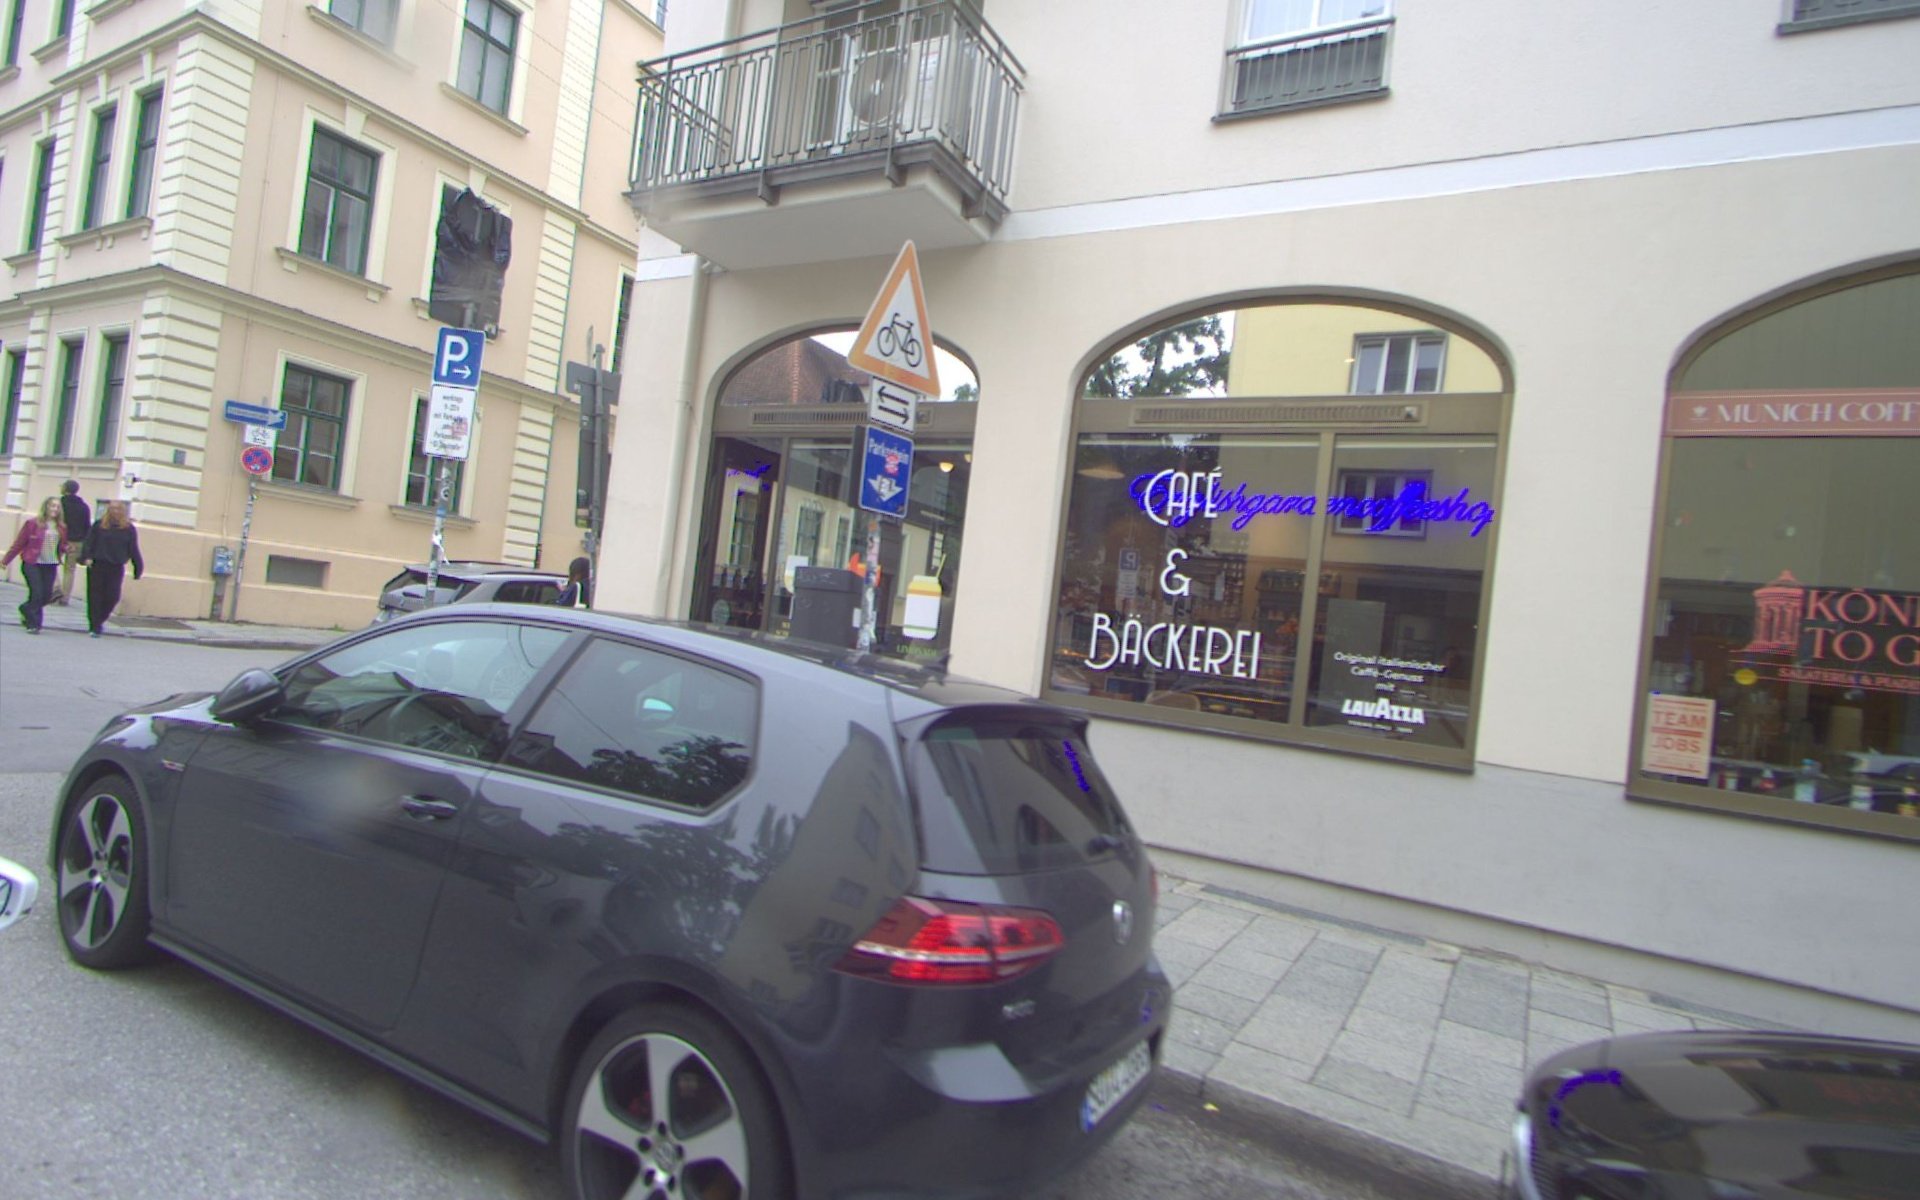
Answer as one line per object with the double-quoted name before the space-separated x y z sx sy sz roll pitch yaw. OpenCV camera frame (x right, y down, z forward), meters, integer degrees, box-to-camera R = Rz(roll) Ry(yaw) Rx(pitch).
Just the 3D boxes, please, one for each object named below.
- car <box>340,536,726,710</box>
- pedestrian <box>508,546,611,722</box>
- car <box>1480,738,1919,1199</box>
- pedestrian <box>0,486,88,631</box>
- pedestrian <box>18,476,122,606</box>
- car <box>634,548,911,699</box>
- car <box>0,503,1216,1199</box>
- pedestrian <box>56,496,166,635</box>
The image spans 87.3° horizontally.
"car" -5.074 0.369 12.560 1.725 1.624 4.096 9 0 29
"pedestrian" -4.001 0.341 10.072 0.517 1.667 0.636 5 -1 23
"car" 3.131 1.271 1.141 4.432 1.440 1.651 7 -3 30
"pedestrian" -11.088 -0.507 12.093 1.051 1.644 0.472 5 -1 30
"pedestrian" -12.738 -0.841 14.406 0.987 1.738 0.720 5 -1 30
"car" -2.938 0.486 16.815 1.941 1.940 4.449 10 1 29
"car" -1.445 0.676 3.548 4.131 1.440 1.681 7 -3 29
"pedestrian" -10.755 -0.439 12.746 0.963 1.640 0.660 5 -1 30
